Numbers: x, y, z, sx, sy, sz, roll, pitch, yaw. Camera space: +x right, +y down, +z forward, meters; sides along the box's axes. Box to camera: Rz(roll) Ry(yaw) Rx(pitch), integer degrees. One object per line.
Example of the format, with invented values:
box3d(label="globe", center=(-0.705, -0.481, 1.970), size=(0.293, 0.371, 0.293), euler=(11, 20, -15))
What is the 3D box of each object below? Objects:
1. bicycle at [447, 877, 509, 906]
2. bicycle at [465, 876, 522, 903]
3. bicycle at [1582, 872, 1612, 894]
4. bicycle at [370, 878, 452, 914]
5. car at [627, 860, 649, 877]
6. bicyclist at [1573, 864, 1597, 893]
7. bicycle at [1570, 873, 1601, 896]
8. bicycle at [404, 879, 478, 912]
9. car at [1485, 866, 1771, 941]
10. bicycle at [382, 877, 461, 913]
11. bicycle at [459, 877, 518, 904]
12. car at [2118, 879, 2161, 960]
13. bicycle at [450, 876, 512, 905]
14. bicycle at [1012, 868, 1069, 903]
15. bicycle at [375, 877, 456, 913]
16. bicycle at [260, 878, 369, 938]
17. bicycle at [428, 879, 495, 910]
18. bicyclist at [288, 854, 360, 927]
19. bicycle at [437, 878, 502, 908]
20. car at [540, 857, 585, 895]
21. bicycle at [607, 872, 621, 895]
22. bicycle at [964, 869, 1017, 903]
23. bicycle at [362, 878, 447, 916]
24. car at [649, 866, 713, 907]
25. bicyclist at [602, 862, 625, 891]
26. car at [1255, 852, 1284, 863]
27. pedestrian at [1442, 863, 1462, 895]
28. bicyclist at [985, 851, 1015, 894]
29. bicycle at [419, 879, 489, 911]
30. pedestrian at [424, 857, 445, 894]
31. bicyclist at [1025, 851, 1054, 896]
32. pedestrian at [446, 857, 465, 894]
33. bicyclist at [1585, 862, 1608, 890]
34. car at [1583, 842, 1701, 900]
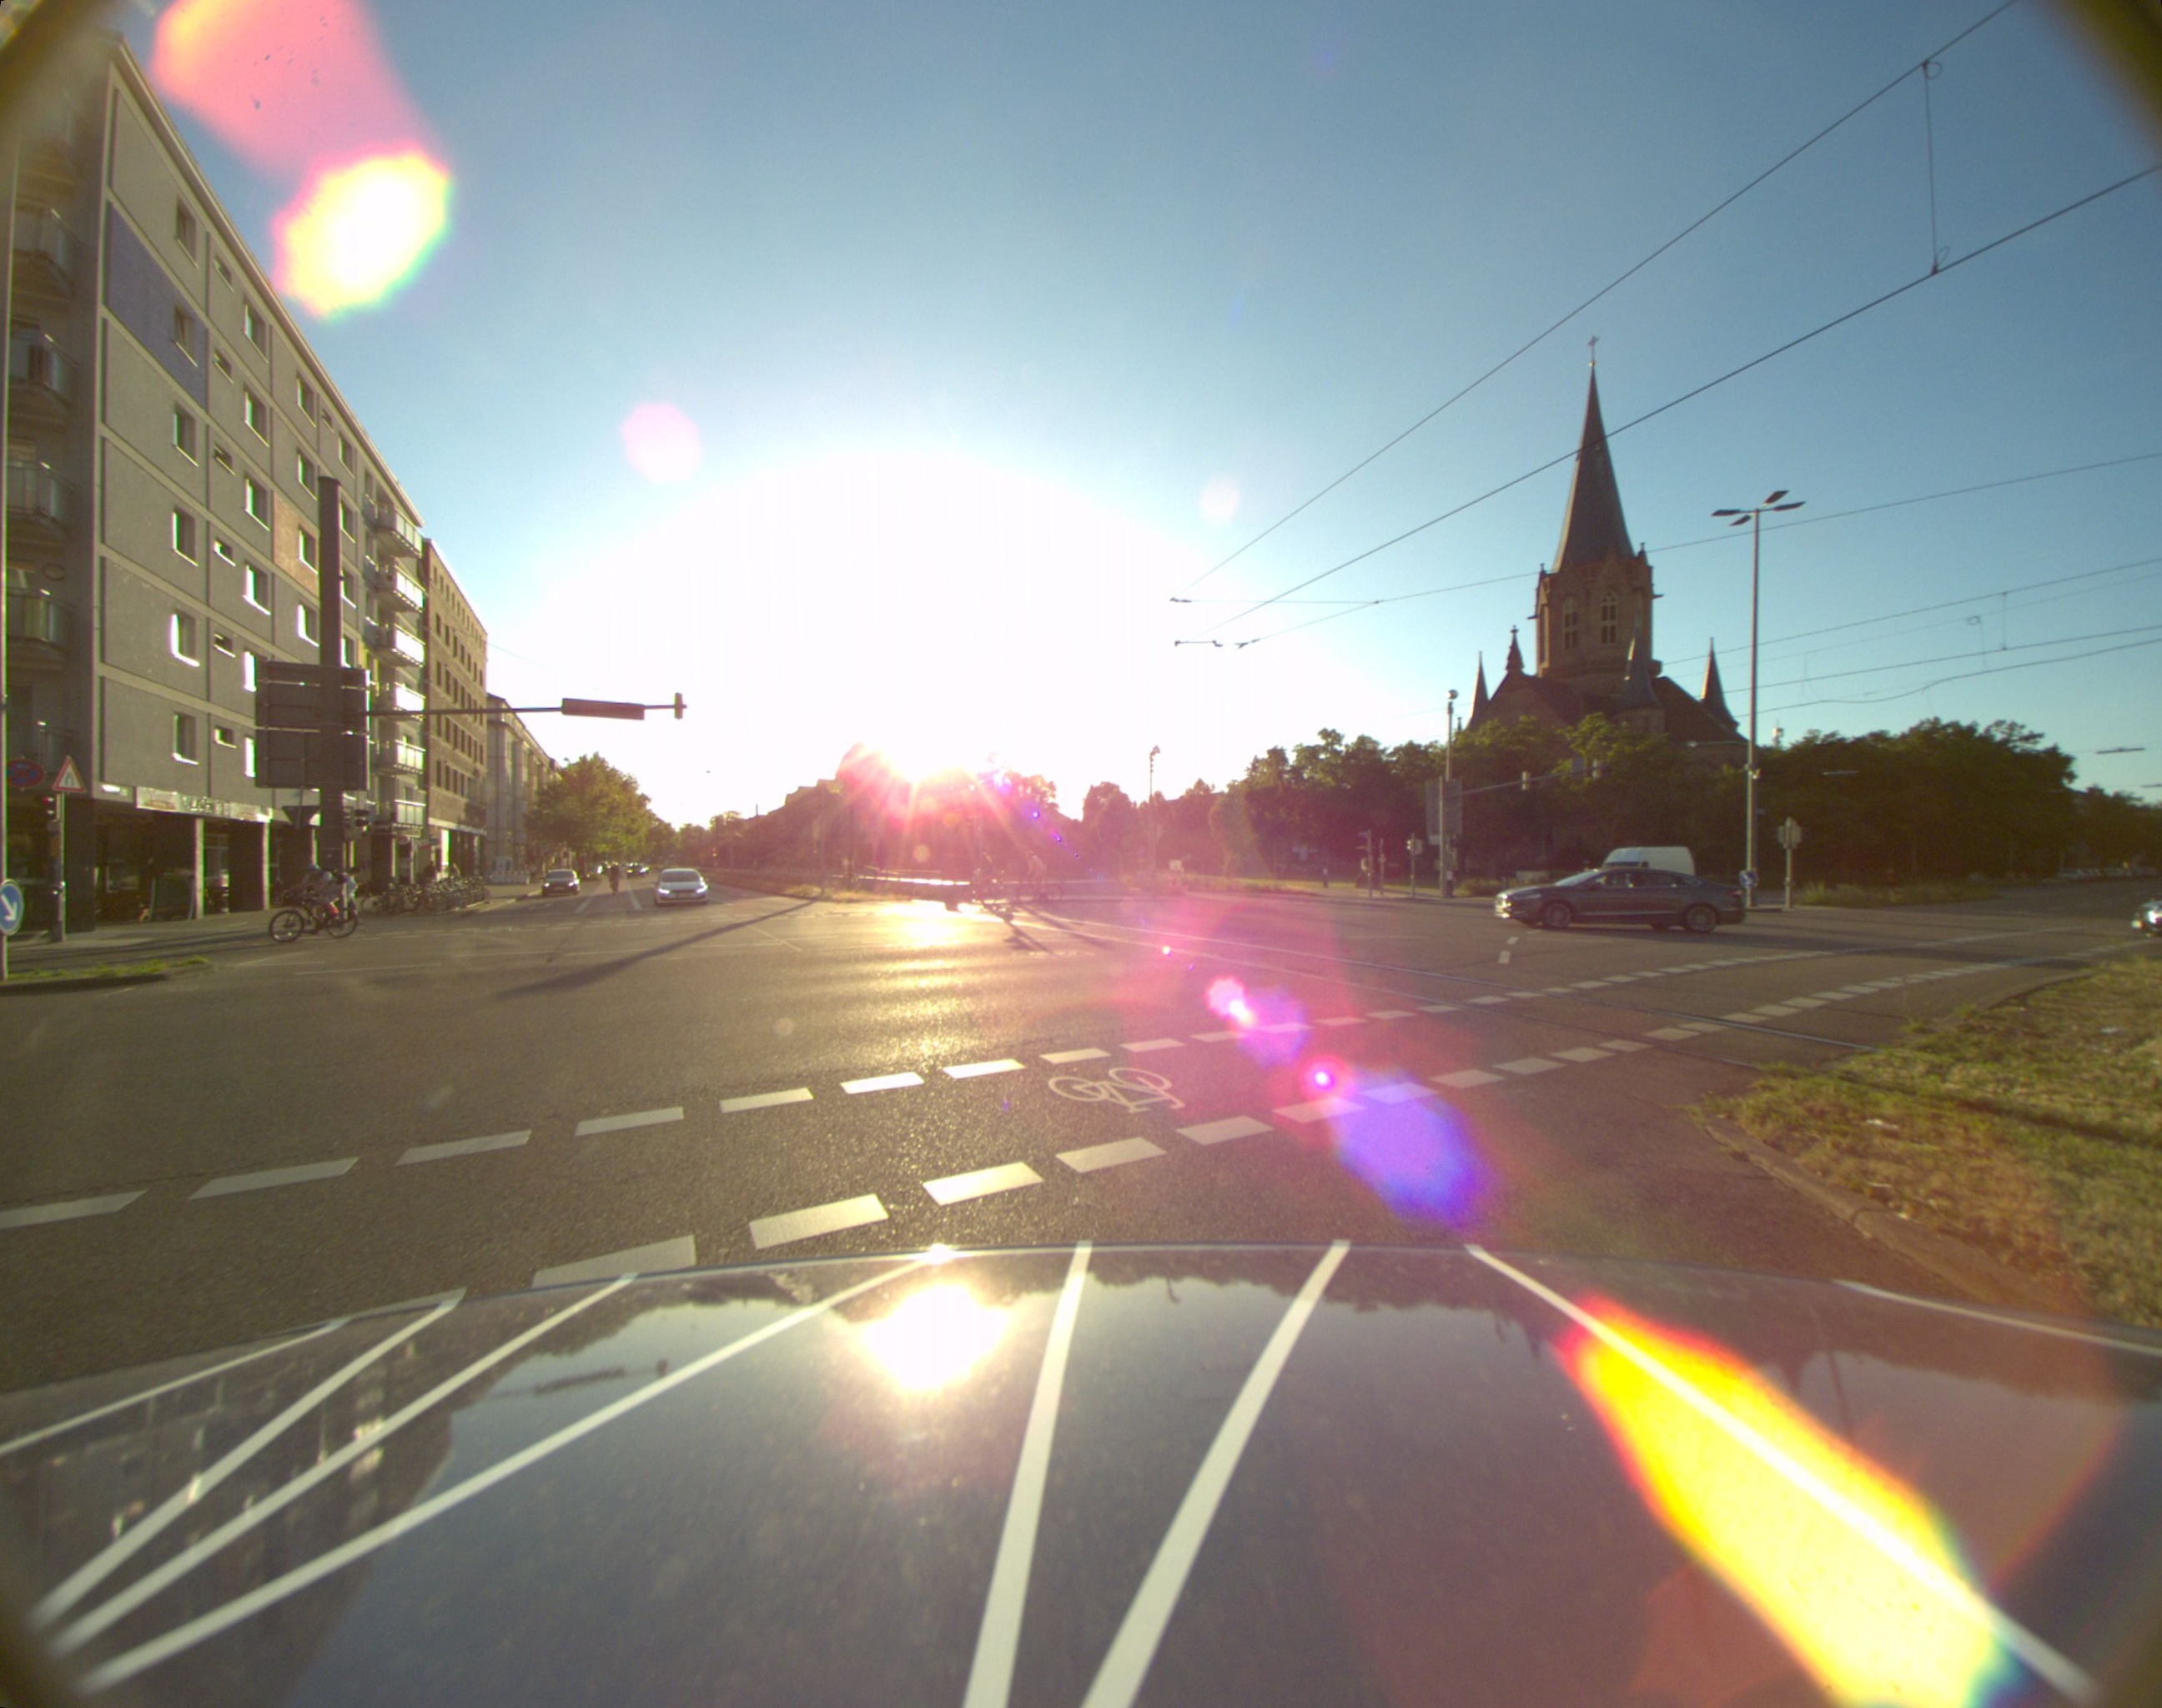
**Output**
box3d(label="bicycle", center=(-24.991, 1.528, 31.527), size=(1.960, 1.113, 0.457), euler=(-1, 0, -28))
box3d(label="bicycle", center=(-26.092, 1.572, 33.771), size=(1.960, 1.113, 0.457), euler=(-1, 0, -28))
box3d(label="bicycle", center=(29.315, 1.629, 43.127), size=(1.974, 1.175, 0.489), euler=(-1, 0, -26))
box3d(label="bicycle", center=(-22.056, 1.367, 25.041), size=(1.960, 1.113, 0.457), euler=(-1, 0, -28))
box3d(label="car", center=(-51.618, 1.676, 88.627), size=(2.003, 1.740, 3.991), euler=(-3, 1, -28))
box3d(label="bicyclist", center=(27.619, 1.357, 41.666), size=(0.734, 1.559, 0.821), euler=(-1, 0, -25))
box3d(label="bicycle", center=(27.723, 1.686, 41.718), size=(1.974, 1.175, 0.489), euler=(-1, 0, -26))
box3d(label="bicycle", center=(-23.002, 1.473, 27.364), size=(1.960, 1.113, 0.457), euler=(-1, 0, -28))
box3d(label="car", center=(12.430, 1.075, 17.659), size=(5.033, 1.428, 1.881), euler=(1, 1, 13))
box3d(label="bicycle", center=(-22.538, 1.386, 26.003), size=(1.960, 1.113, 0.457), euler=(-1, 0, -28))
box3d(label="bicycle", center=(-25.663, 1.571, 32.942), size=(1.960, 1.113, 0.457), euler=(-1, 0, -28))
box3d(label="car", center=(22.686, 1.288, 13.356), size=(5.012, 1.499, 1.728), euler=(1, 0, 44))
box3d(label="bicycle", center=(-25.254, 1.526, 32.022), size=(1.960, 1.113, 0.457), euler=(-1, 0, -28))
box3d(label="bicycle", center=(-1.420, 1.103, 26.847), size=(1.974, 1.175, 0.489), euler=(0, 0, -26))
box3d(label="bicycle", center=(-22.305, 1.373, 25.511), size=(1.960, 1.113, 0.457), euler=(-1, 0, -28))
box3d(label="bicycle", center=(-16.619, 1.137, 16.546), size=(0.490, 1.175, 1.971), euler=(-1, 0, -6))
box3d(label="bicycle", center=(-24.177, 1.554, 29.707), size=(1.960, 1.113, 0.457), euler=(-1, 0, -28))
box3d(label="bicyclist", center=(-16.667, 0.797, 16.751), size=(0.823, 1.559, 0.733), euler=(-1, 0, -3))
box3d(label="bicycle", center=(-24.469, 1.558, 30.436), size=(1.960, 1.113, 0.457), euler=(-1, 0, -28))
box3d(label="car", center=(-29.825, 1.229, 43.728), size=(2.003, 2.002, 3.990), euler=(-1, 0, -34))
box3d(label="bicycle", center=(-25.886, 1.603, 42.163), size=(0.576, 1.193, 2.201), euler=(-1, 0, -30))
box3d(label="bicycle", center=(-3.313, 1.147, 27.946), size=(1.976, 1.175, 0.489), euler=(-1, 0, -43))
box3d(label="bicycle", center=(-21.814, 1.377, 24.546), size=(1.960, 1.113, 0.457), euler=(-1, 0, -28))
box3d(label="car", center=(-16.115, 1.229, 30.521), size=(1.959, 1.484, 3.949), euler=(-1, 0, -32))
box3d(label="bicyclist", center=(-25.841, 1.245, 42.020), size=(0.998, 1.529, 0.921), euler=(-1, 0, -29))
box3d(label="car", center=(30.586, 0.593, 123.236), size=(4.120, 1.811, 2.004), euler=(-1, 0, 33))
box3d(label="pedestrian", center=(19.463, 1.305, 39.855), size=(0.663, 1.672, 0.657), euler=(0, 0, -28))
box3d(label="bicyclist", center=(-3.018, 0.682, 28.194), size=(0.735, 1.559, 0.821), euler=(-1, 0, -42))
box3d(label="bicycle", center=(-23.754, 1.533, 28.832), size=(1.960, 1.113, 0.457), euler=(-1, 0, -28))
box3d(label="pedestrian", center=(-35.242, 1.178, 41.424), size=(0.719, 2.002, 0.645), euler=(0, 0, -29))
box3d(label="bicyclist", center=(-1.460, 0.670, 26.822), size=(0.734, 1.559, 0.821), euler=(-1, 0, -25))
box3d(label="pedestrian", center=(-34.477, 1.161, 41.872), size=(0.656, 2.002, 0.750), euler=(-1, 0, -30))
box3d(label="bicyclist", center=(29.225, 1.215, 43.070), size=(0.734, 1.559, 0.821), euler=(-1, 0, -25))
box3d(label="car", center=(29.786, 0.857, 40.283), size=(7.213, 2.860, 2.303), euler=(0, 0, -30))
